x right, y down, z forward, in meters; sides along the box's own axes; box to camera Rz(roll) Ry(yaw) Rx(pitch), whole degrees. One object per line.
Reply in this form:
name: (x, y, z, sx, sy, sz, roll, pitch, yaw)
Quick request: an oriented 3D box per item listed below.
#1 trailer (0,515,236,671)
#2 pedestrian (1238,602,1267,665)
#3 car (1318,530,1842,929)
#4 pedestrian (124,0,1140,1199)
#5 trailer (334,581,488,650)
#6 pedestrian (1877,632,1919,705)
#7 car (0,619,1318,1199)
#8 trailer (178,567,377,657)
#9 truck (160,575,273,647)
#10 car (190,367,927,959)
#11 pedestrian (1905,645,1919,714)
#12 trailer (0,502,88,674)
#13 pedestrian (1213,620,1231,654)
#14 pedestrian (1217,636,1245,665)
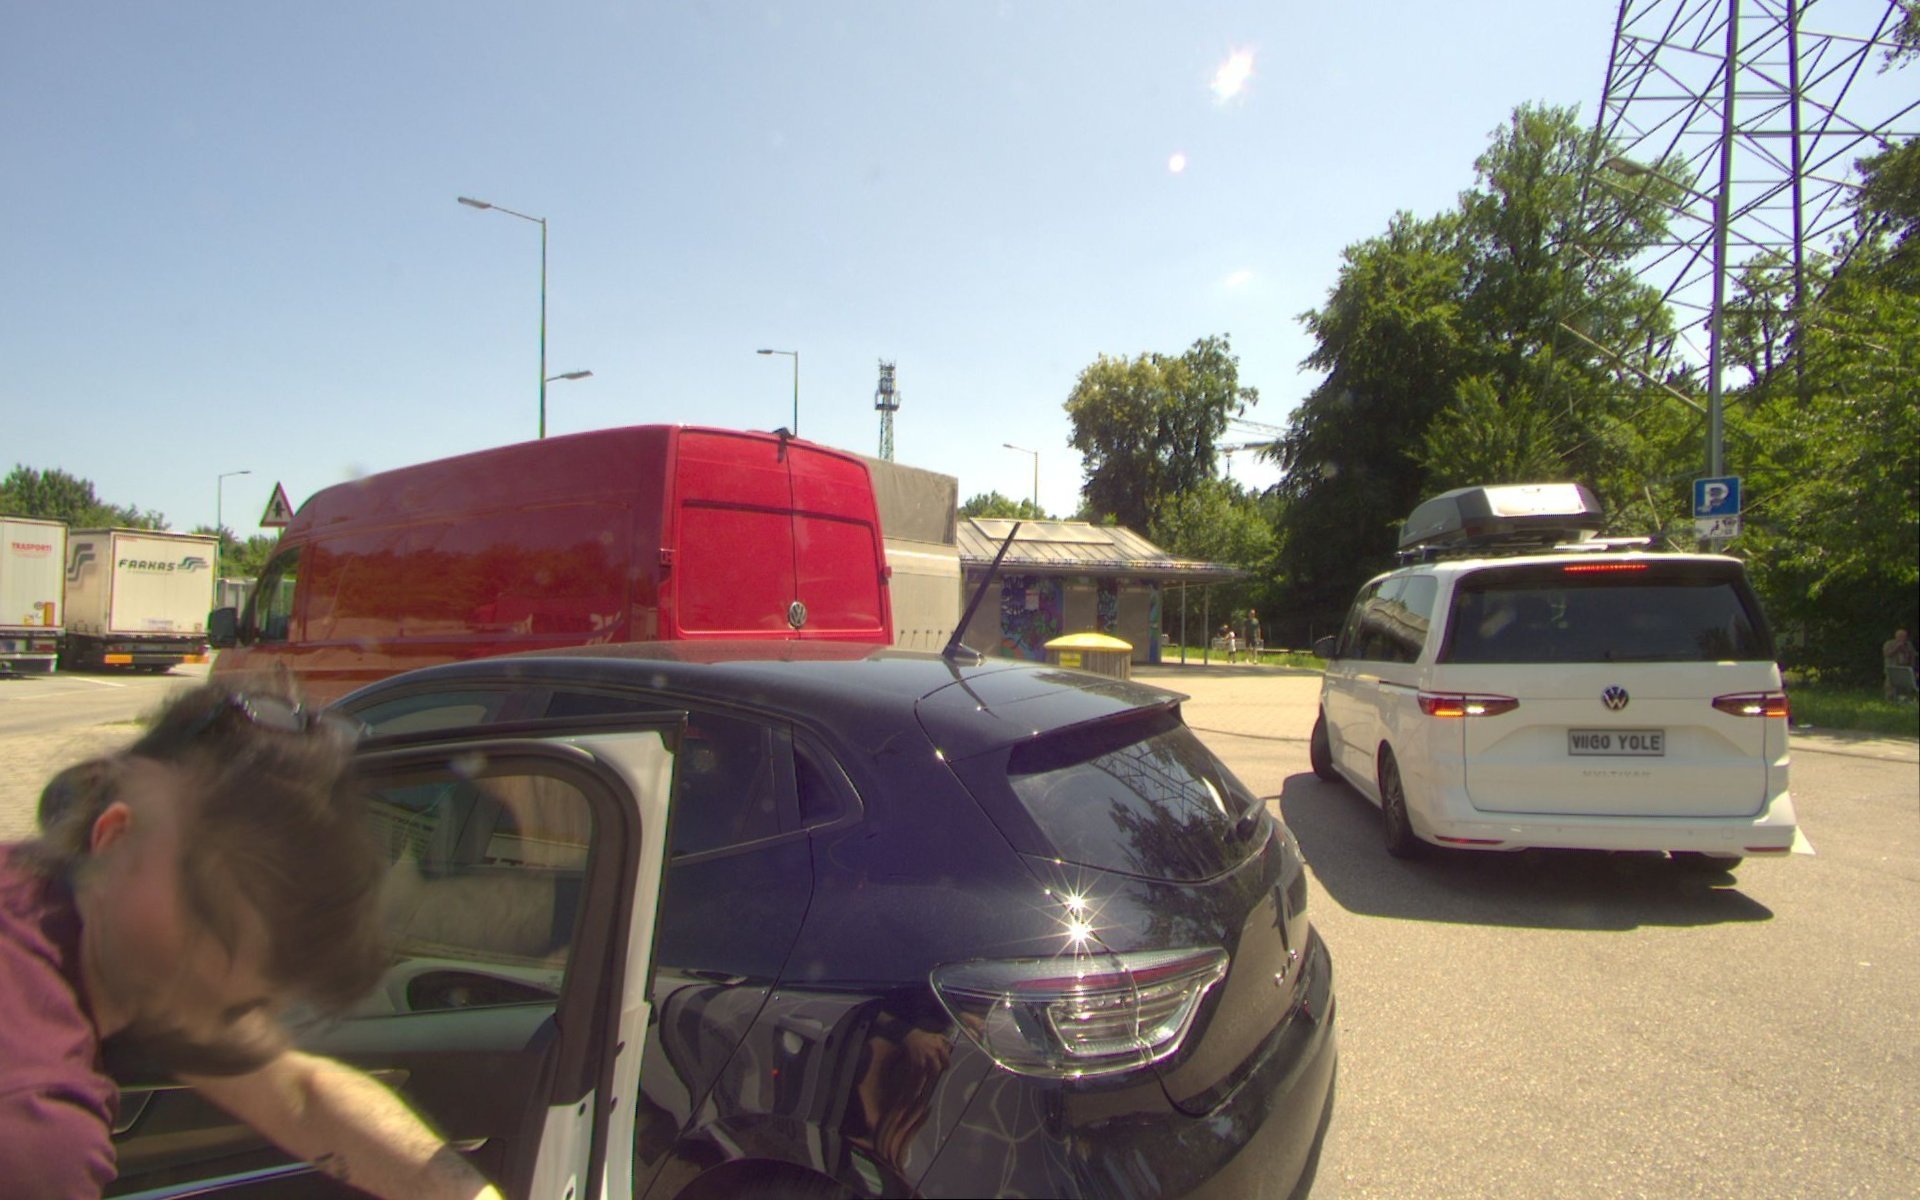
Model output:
trailer: (-27.655, -0.207, 31.631, 13.523, 4.185, 2.835, 1, -2, 33)
pedestrian: (9.817, 1.122, 33.656, 0.634, 2.067, 0.778, 0, -1, -10)
car: (3.888, 0.687, 7.312, 1.876, 1.937, 4.561, 0, -1, 13)
pedestrian: (-0.343, 0.600, 1.053, 0.878, 1.865, 0.618, -1, -1, 35)
trailer: (-36.046, 0.898, 65.435, 13.530, 4.101, 2.834, 1, -2, 34)
pedestrian: (18.761, 1.351, 19.915, 0.660, 1.422, 0.647, -1, -1, 33)
car: (-1.057, 0.838, 2.909, 3.757, 1.501, 1.736, 0, -1, 27)
trailer: (-32.381, 0.467, 47.142, 13.530, 3.764, 2.834, 1, -2, 34)
truck: (-37.690, 0.546, 50.741, 5.405, 3.407, 2.847, 1, -2, 34)
car: (-3.349, 0.312, 7.360, 6.310, 2.731, 2.060, 0, -1, 37)
pedestrian: (17.194, 1.379, 17.480, 0.876, 1.192, 0.666, -1, -2, 32)
trailer: (-28.963, -0.388, 28.151, 13.523, 4.185, 2.835, 1, -2, 33)
pedestrian: (12.153, 1.711, 46.453, 0.635, 1.547, 0.564, 0, -1, -22)
pedestrian: (9.078, 1.686, 33.610, 0.634, 0.960, 0.778, 0, -1, -10)
